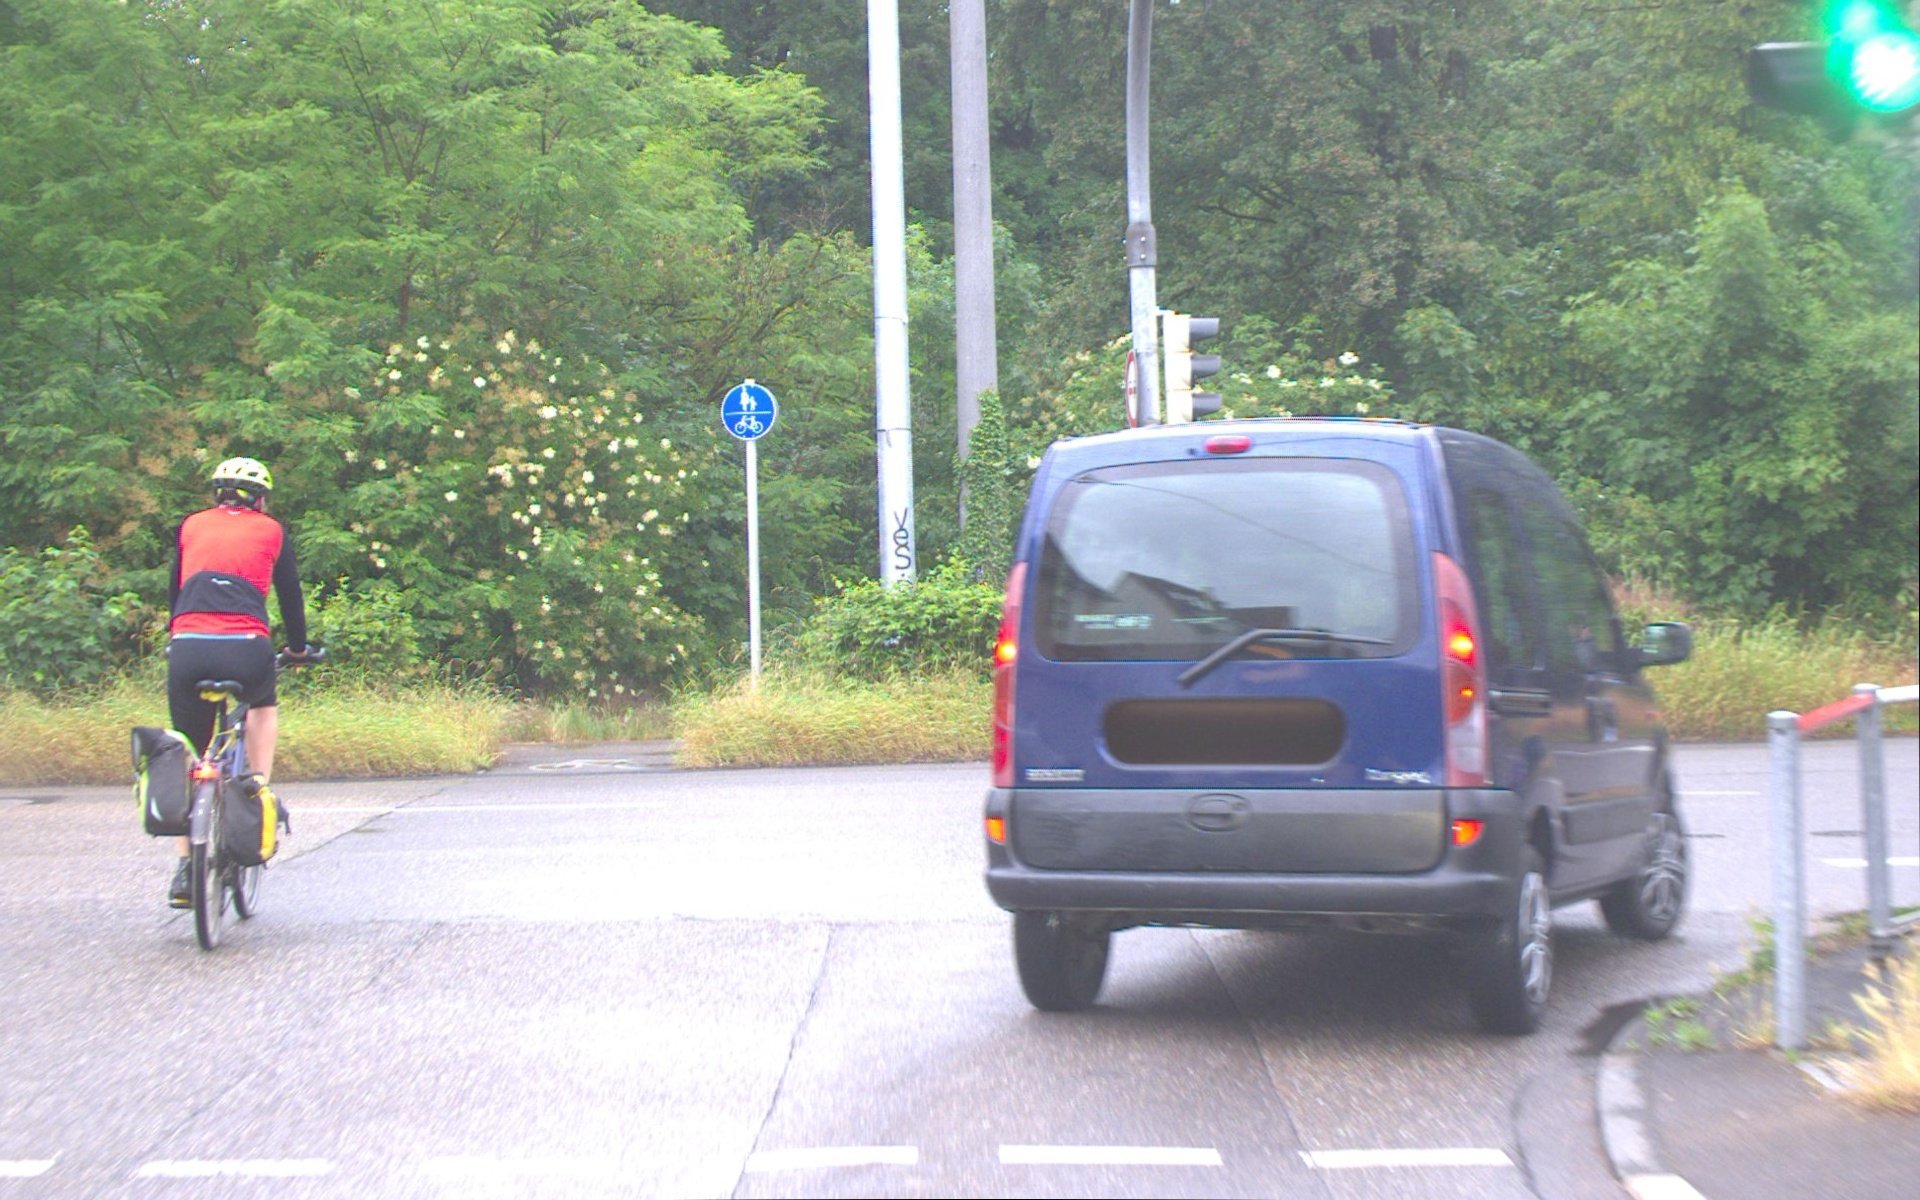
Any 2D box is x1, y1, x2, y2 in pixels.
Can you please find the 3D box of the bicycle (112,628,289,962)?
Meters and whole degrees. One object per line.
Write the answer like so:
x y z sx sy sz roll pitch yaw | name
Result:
-2.875 0.692 13.145 0.578 1.093 2.155 -1 1 -10 | bicycle

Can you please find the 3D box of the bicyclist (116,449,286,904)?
-2.859 0.264 13.012 0.578 1.647 1.049 -1 1 -11 | bicyclist

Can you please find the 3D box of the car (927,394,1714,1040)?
1.411 0.311 11.699 1.810 1.791 3.996 -1 0 18 | car
